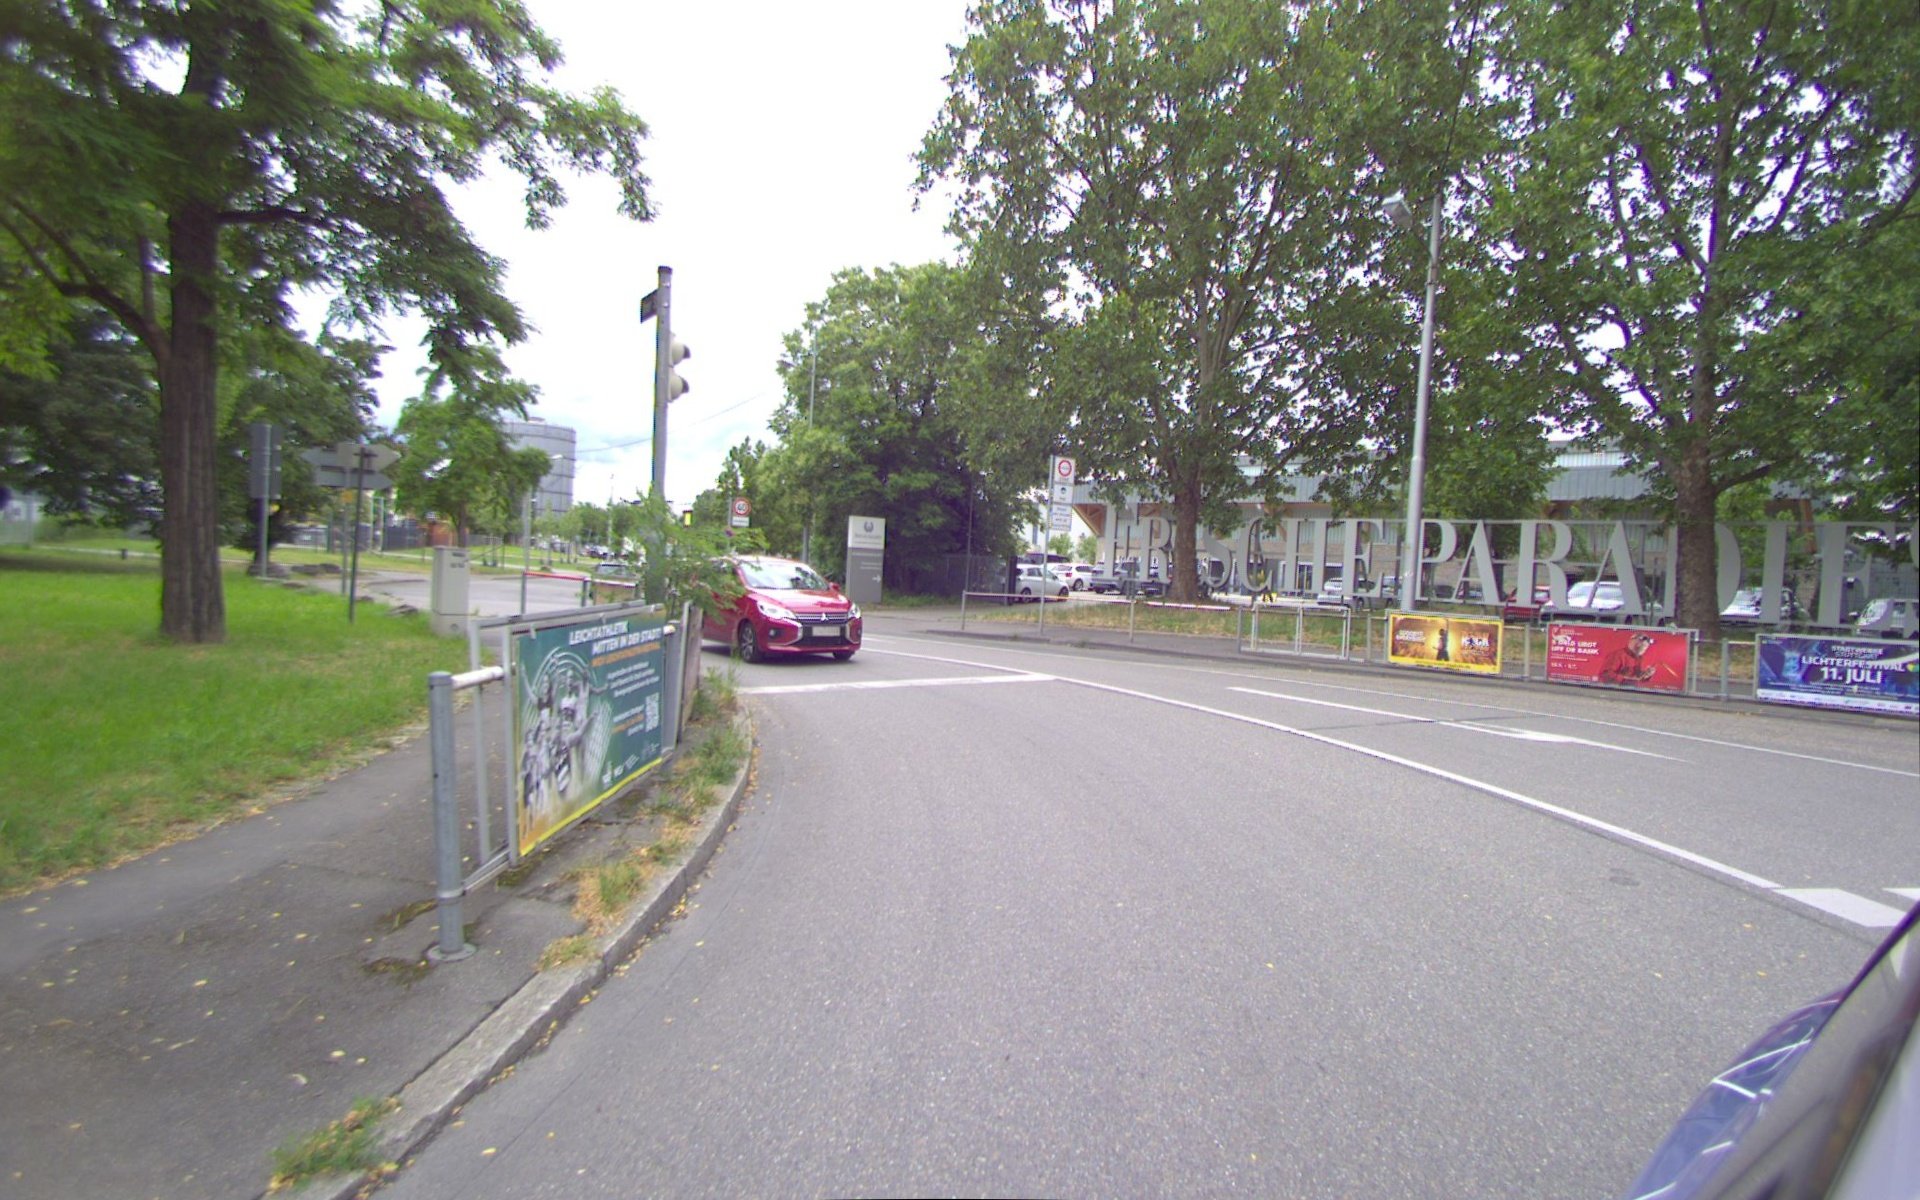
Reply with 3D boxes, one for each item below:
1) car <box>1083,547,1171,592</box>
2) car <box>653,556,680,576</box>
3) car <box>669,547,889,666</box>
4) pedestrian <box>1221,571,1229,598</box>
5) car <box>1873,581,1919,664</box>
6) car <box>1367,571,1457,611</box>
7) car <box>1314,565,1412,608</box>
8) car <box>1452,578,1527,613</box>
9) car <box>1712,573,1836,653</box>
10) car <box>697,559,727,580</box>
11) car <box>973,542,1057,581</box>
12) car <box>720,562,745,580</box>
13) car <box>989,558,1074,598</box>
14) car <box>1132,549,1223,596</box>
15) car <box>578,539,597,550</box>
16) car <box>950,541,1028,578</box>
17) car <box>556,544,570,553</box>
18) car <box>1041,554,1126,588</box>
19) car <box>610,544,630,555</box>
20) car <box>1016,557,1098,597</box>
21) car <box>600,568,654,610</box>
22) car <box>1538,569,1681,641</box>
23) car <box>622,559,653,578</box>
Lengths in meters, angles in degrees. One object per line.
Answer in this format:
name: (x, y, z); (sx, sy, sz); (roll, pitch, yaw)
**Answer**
car: (8.591, -1.539, 51.892); (4.560, 2.038, 1.997); (2, 2, -42)
car: (-24.176, -2.837, 83.469); (2.005, 1.554, 3.952); (0, 4, -13)
car: (-2.804, -0.001, 15.047); (1.701, 1.483, 3.835); (0, 3, -36)
pedestrian: (17.329, -1.008, 66.150); (0.338, 1.787, 0.434); (4, 0, 25)
car: (20.874, 0.537, 21.638); (3.932, 1.633, 1.589); (2, 2, -43)
car: (20.520, -0.396, 45.877); (4.560, 1.580, 1.997); (2, 2, -42)
car: (17.051, -0.557, 42.701); (4.560, 1.580, 1.997); (2, 2, -42)
car: (28.075, -0.228, 53.572); (4.560, 1.580, 1.997); (2, 2, -42)
car: (19.083, 0.328, 23.655); (4.244, 1.633, 1.589); (2, 2, -43)
car: (-18.912, -2.337, 77.245); (1.682, 1.424, 3.376); (3, 1, -6)
car: (3.342, -2.270, 60.385); (5.014, 2.023, 1.997); (2, 2, -42)
car: (-19.758, -2.557, 88.094); (1.682, 1.424, 3.376); (3, 1, -6)
car: (3.059, -0.920, 42.727); (1.477, 1.523, 3.670); (5, 2, 44)
car: (10.620, -1.325, 49.269); (4.560, 2.038, 1.997); (2, 2, -42)
car: (-55.821, -8.275, 151.512); (2.006, 1.555, 3.949); (2, 2, -29)
car: (1.871, -2.528, 63.336); (4.740, 2.038, 1.997); (2, 2, -42)
car: (-75.136, -9.680, 191.473); (2.005, 1.555, 3.950); (4, 1, -26)
car: (6.720, -1.547, 54.703); (4.560, 1.577, 1.997); (2, 2, -42)
car: (-50.258, -7.458, 149.551); (2.006, 1.555, 3.949); (2, 2, -29)
car: (5.536, -1.272, 57.305); (4.560, 2.038, 1.997); (2, 2, -42)
car: (-14.576, -0.492, 44.434); (1.811, 1.656, 4.194); (4, 0, -13)
car: (17.001, 0.150, 26.400); (4.445, 1.633, 1.882); (3, 2, -41)
car: (-28.992, -2.880, 90.933); (2.007, 1.554, 3.949); (-1, 4, -28)
